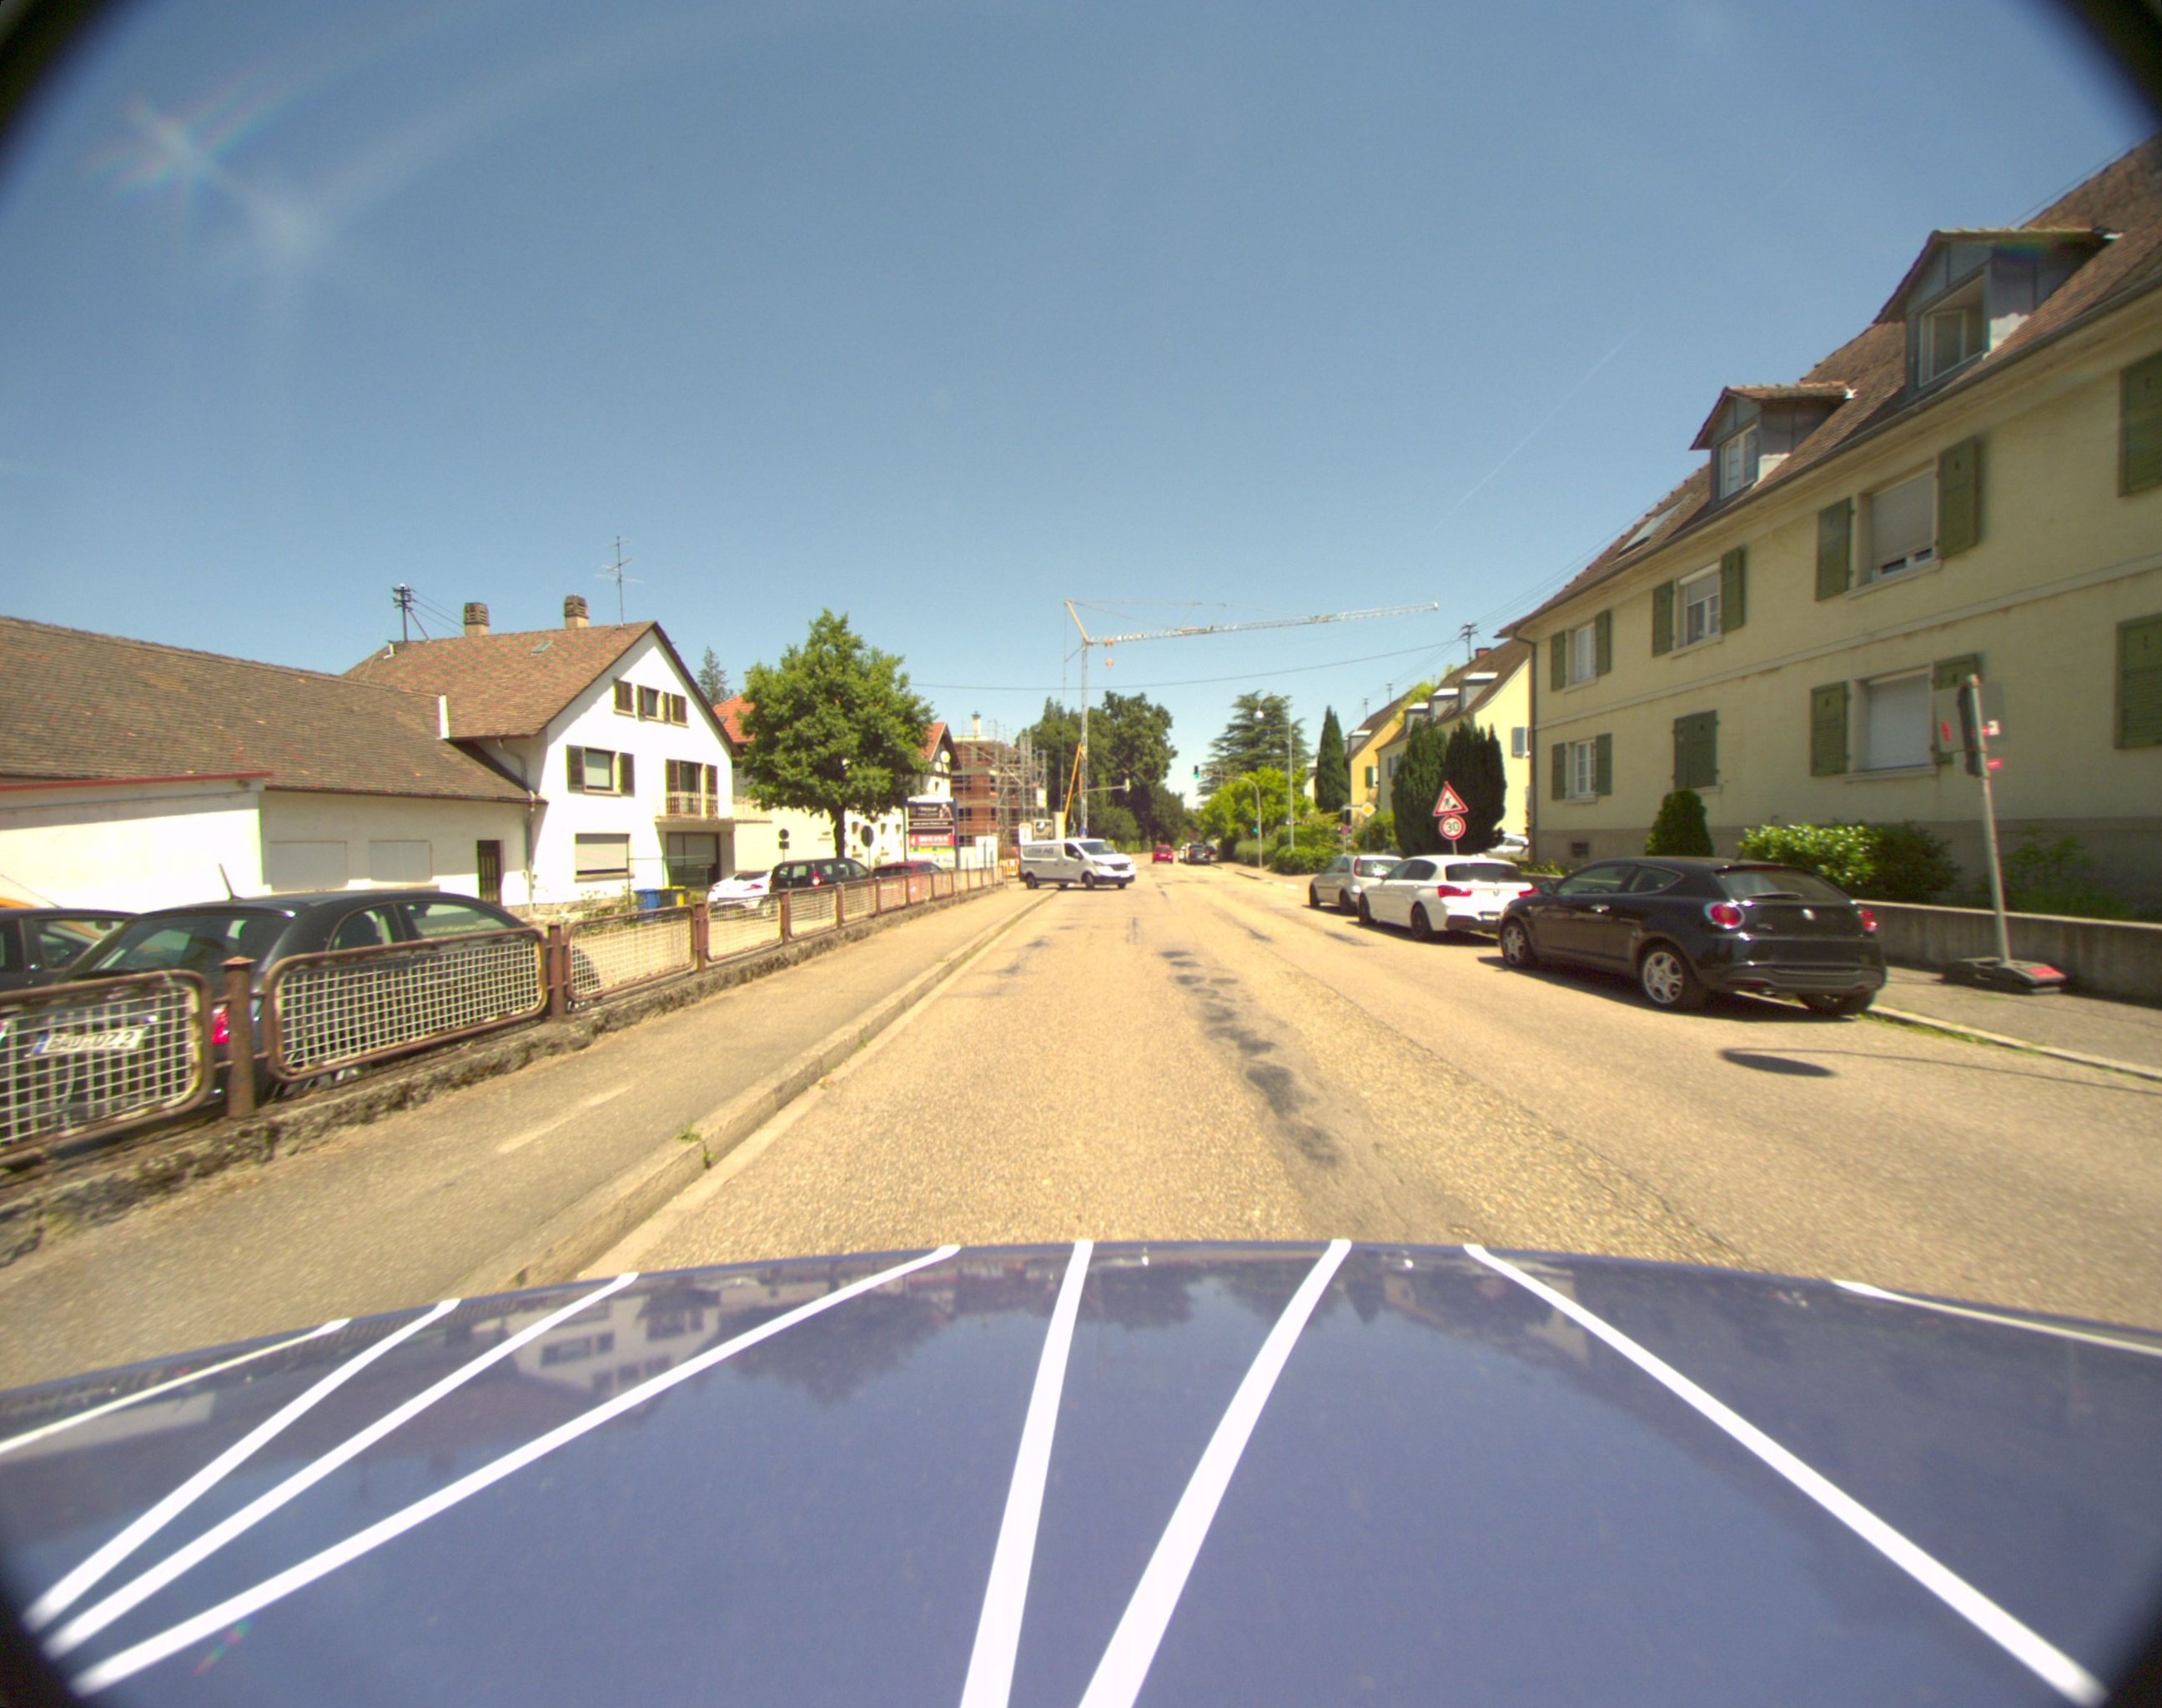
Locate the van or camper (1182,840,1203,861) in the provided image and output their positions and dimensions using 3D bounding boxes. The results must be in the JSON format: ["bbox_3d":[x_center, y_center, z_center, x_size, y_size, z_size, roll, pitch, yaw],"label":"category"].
[{"bbox_3d":[9.860,-0.309,67.259,1.684,1.794,3.986,1,2,6],"label":"van or camper"}]

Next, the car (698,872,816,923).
[{"bbox_3d":[-9.704,1.257,23.026,1.715,1.263,3.386,-2,1,9],"label":"car"}]

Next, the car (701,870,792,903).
[{"bbox_3d":[-17.460,1.675,39.739,3.890,1.435,1.817,-3,1,10],"label":"car"}]

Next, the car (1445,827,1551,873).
[{"bbox_3d":[16.352,-0.175,29.924,3.208,1.448,1.735,-5,2,9],"label":"car"}]

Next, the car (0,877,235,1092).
[{"bbox_3d":[-10.375,1.259,6.313,1.779,1.789,4.165,-5,1,2],"label":"car"}]

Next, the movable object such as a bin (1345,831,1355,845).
[{"bbox_3d":[22.119,-1.325,62.517,0.622,1.190,0.674,-1,2,6],"label":"movable object such as a bin"}]

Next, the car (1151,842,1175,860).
[{"bbox_3d":[7.119,-0.264,66.381,1.818,1.557,3.696,0,1,2],"label":"car"}]

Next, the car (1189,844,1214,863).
[{"bbox_3d":[9.809,-0.077,62.186,1.684,1.404,3.927,1,1,5],"label":"car"}]

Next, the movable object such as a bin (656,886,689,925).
[{"bbox_3d":[-11.545,1.460,21.478,0.491,1.041,0.640,-1,2,10],"label":"movable object such as a bin"}]

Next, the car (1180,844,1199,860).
[{"bbox_3d":[10.402,-0.221,72.681,1.684,1.433,4.249,1,1,8],"label":"car"}]

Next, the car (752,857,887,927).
[{"bbox_3d":[-7.424,1.004,22.131,1.715,1.656,4.462,-3,1,9],"label":"car"}]

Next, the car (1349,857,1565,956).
[{"bbox_3d":[6.385,0.796,13.519,1.799,1.394,4.218,0,1,1],"label":"car"}]

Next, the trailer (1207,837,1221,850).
[{"bbox_3d":[21.235,-1.680,121.319,1.816,2.022,4.003,2,2,14],"label":"trailer"}]

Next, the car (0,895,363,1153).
[{"bbox_3d":[-7.946,1.235,5.672,1.634,1.534,3.394,-2,1,8],"label":"car"}]

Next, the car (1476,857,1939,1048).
[{"bbox_3d":[6.266,0.831,8.362,1.720,1.477,4.075,1,1,1],"label":"car"}]

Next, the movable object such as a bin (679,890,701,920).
[{"bbox_3d":[-11.484,1.490,22.339,0.397,0.849,0.386,-1,2,10],"label":"movable object such as a bin"}]

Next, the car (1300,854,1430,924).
[{"bbox_3d":[6.810,0.775,18.657,1.763,1.439,3.924,0,1,1],"label":"car"}]

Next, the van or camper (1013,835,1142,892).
[{"bbox_3d":[-0.266,0.362,30.302,2.003,1.968,5.347,-6,3,-41],"label":"van or camper"}]

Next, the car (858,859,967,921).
[{"bbox_3d":[-4.746,0.963,21.961,1.714,1.515,3.841,-1,1,10],"label":"car"}]

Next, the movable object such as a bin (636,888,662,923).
[{"bbox_3d":[-12.272,1.453,21.586,0.452,0.964,0.416,-1,2,10],"label":"movable object such as a bin"}]

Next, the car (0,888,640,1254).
[{"bbox_3d":[-5.046,1.138,5.376,1.635,1.451,3.556,-5,1,0],"label":"car"}]
